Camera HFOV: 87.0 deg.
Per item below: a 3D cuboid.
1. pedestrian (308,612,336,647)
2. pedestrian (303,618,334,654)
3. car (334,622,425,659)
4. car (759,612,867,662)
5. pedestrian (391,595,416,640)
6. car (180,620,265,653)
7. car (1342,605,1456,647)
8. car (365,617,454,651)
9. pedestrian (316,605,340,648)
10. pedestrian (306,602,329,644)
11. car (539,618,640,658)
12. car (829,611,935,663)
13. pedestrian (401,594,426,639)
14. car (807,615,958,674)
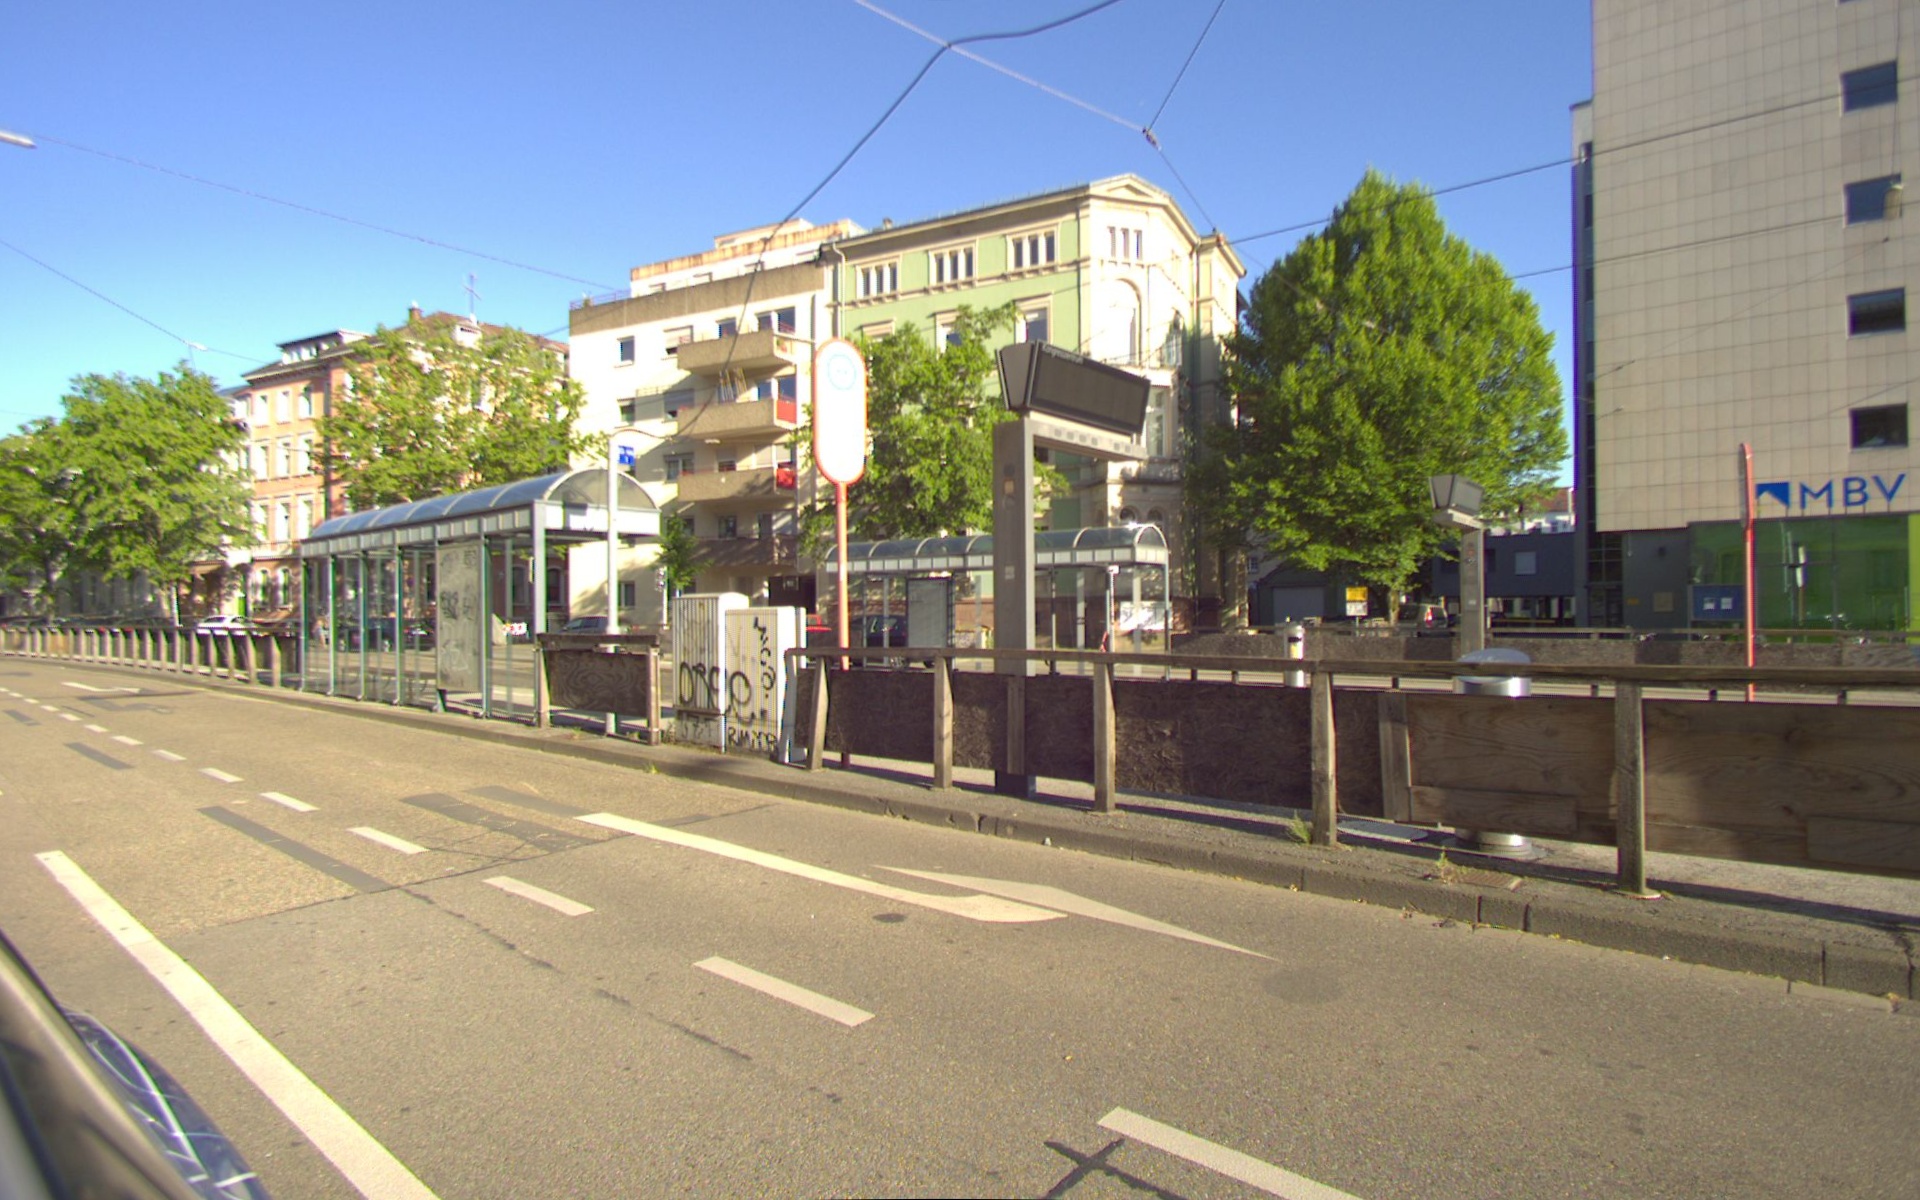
[{"bbox_3d":[-31.925,1.476,50.644,1.016,1.733,0.846,-1,-2,32],"label":"pedestrian"},{"bbox_3d":[-29.444,1.643,46.478,0.879,1.641,0.869,0,-1,-1],"label":"pedestrian"},{"bbox_3d":[-22.938,1.578,39.978,3.870,1.419,1.650,-1,-2,35],"label":"car"},{"bbox_3d":[-4.944,1.222,34.533,1.754,1.594,3.965,-1,-1,26],"label":"car"},{"bbox_3d":[-27.896,0.875,50.730,0.753,2.224,0.804,-1,-2,30],"label":"pedestrian"},{"bbox_3d":[-39.499,1.933,54.330,1.825,1.721,4.130,0,-1,-5],"label":"car"},{"bbox_3d":[15.767,0.899,36.462,1.544,1.423,3.430,-1,0,-38],"label":"car"},{"bbox_3d":[-23.707,1.453,43.568,3.986,1.407,1.592,-1,-2,32],"label":"car"},{"bbox_3d":[-33.023,1.363,52.883,0.753,2.224,0.804,-1,-2,30],"label":"pedestrian"},{"bbox_3d":[-34.188,1.221,53.889,0.755,2.224,0.803,-1,-2,36],"label":"pedestrian"},{"bbox_3d":[-14.117,1.425,38.537,3.725,1.438,1.637,-1,-1,29],"label":"car"},{"bbox_3d":[-2.510,1.191,33.486,1.754,1.594,3.965,-1,-1,26],"label":"car"},{"bbox_3d":[-27.140,0.812,50.273,0.753,2.224,0.804,-1,-2,30],"label":"pedestrian"},{"bbox_3d":[-2.146,1.172,27.524,3.990,1.500,1.629,-1,-2,35],"label":"car"}]
